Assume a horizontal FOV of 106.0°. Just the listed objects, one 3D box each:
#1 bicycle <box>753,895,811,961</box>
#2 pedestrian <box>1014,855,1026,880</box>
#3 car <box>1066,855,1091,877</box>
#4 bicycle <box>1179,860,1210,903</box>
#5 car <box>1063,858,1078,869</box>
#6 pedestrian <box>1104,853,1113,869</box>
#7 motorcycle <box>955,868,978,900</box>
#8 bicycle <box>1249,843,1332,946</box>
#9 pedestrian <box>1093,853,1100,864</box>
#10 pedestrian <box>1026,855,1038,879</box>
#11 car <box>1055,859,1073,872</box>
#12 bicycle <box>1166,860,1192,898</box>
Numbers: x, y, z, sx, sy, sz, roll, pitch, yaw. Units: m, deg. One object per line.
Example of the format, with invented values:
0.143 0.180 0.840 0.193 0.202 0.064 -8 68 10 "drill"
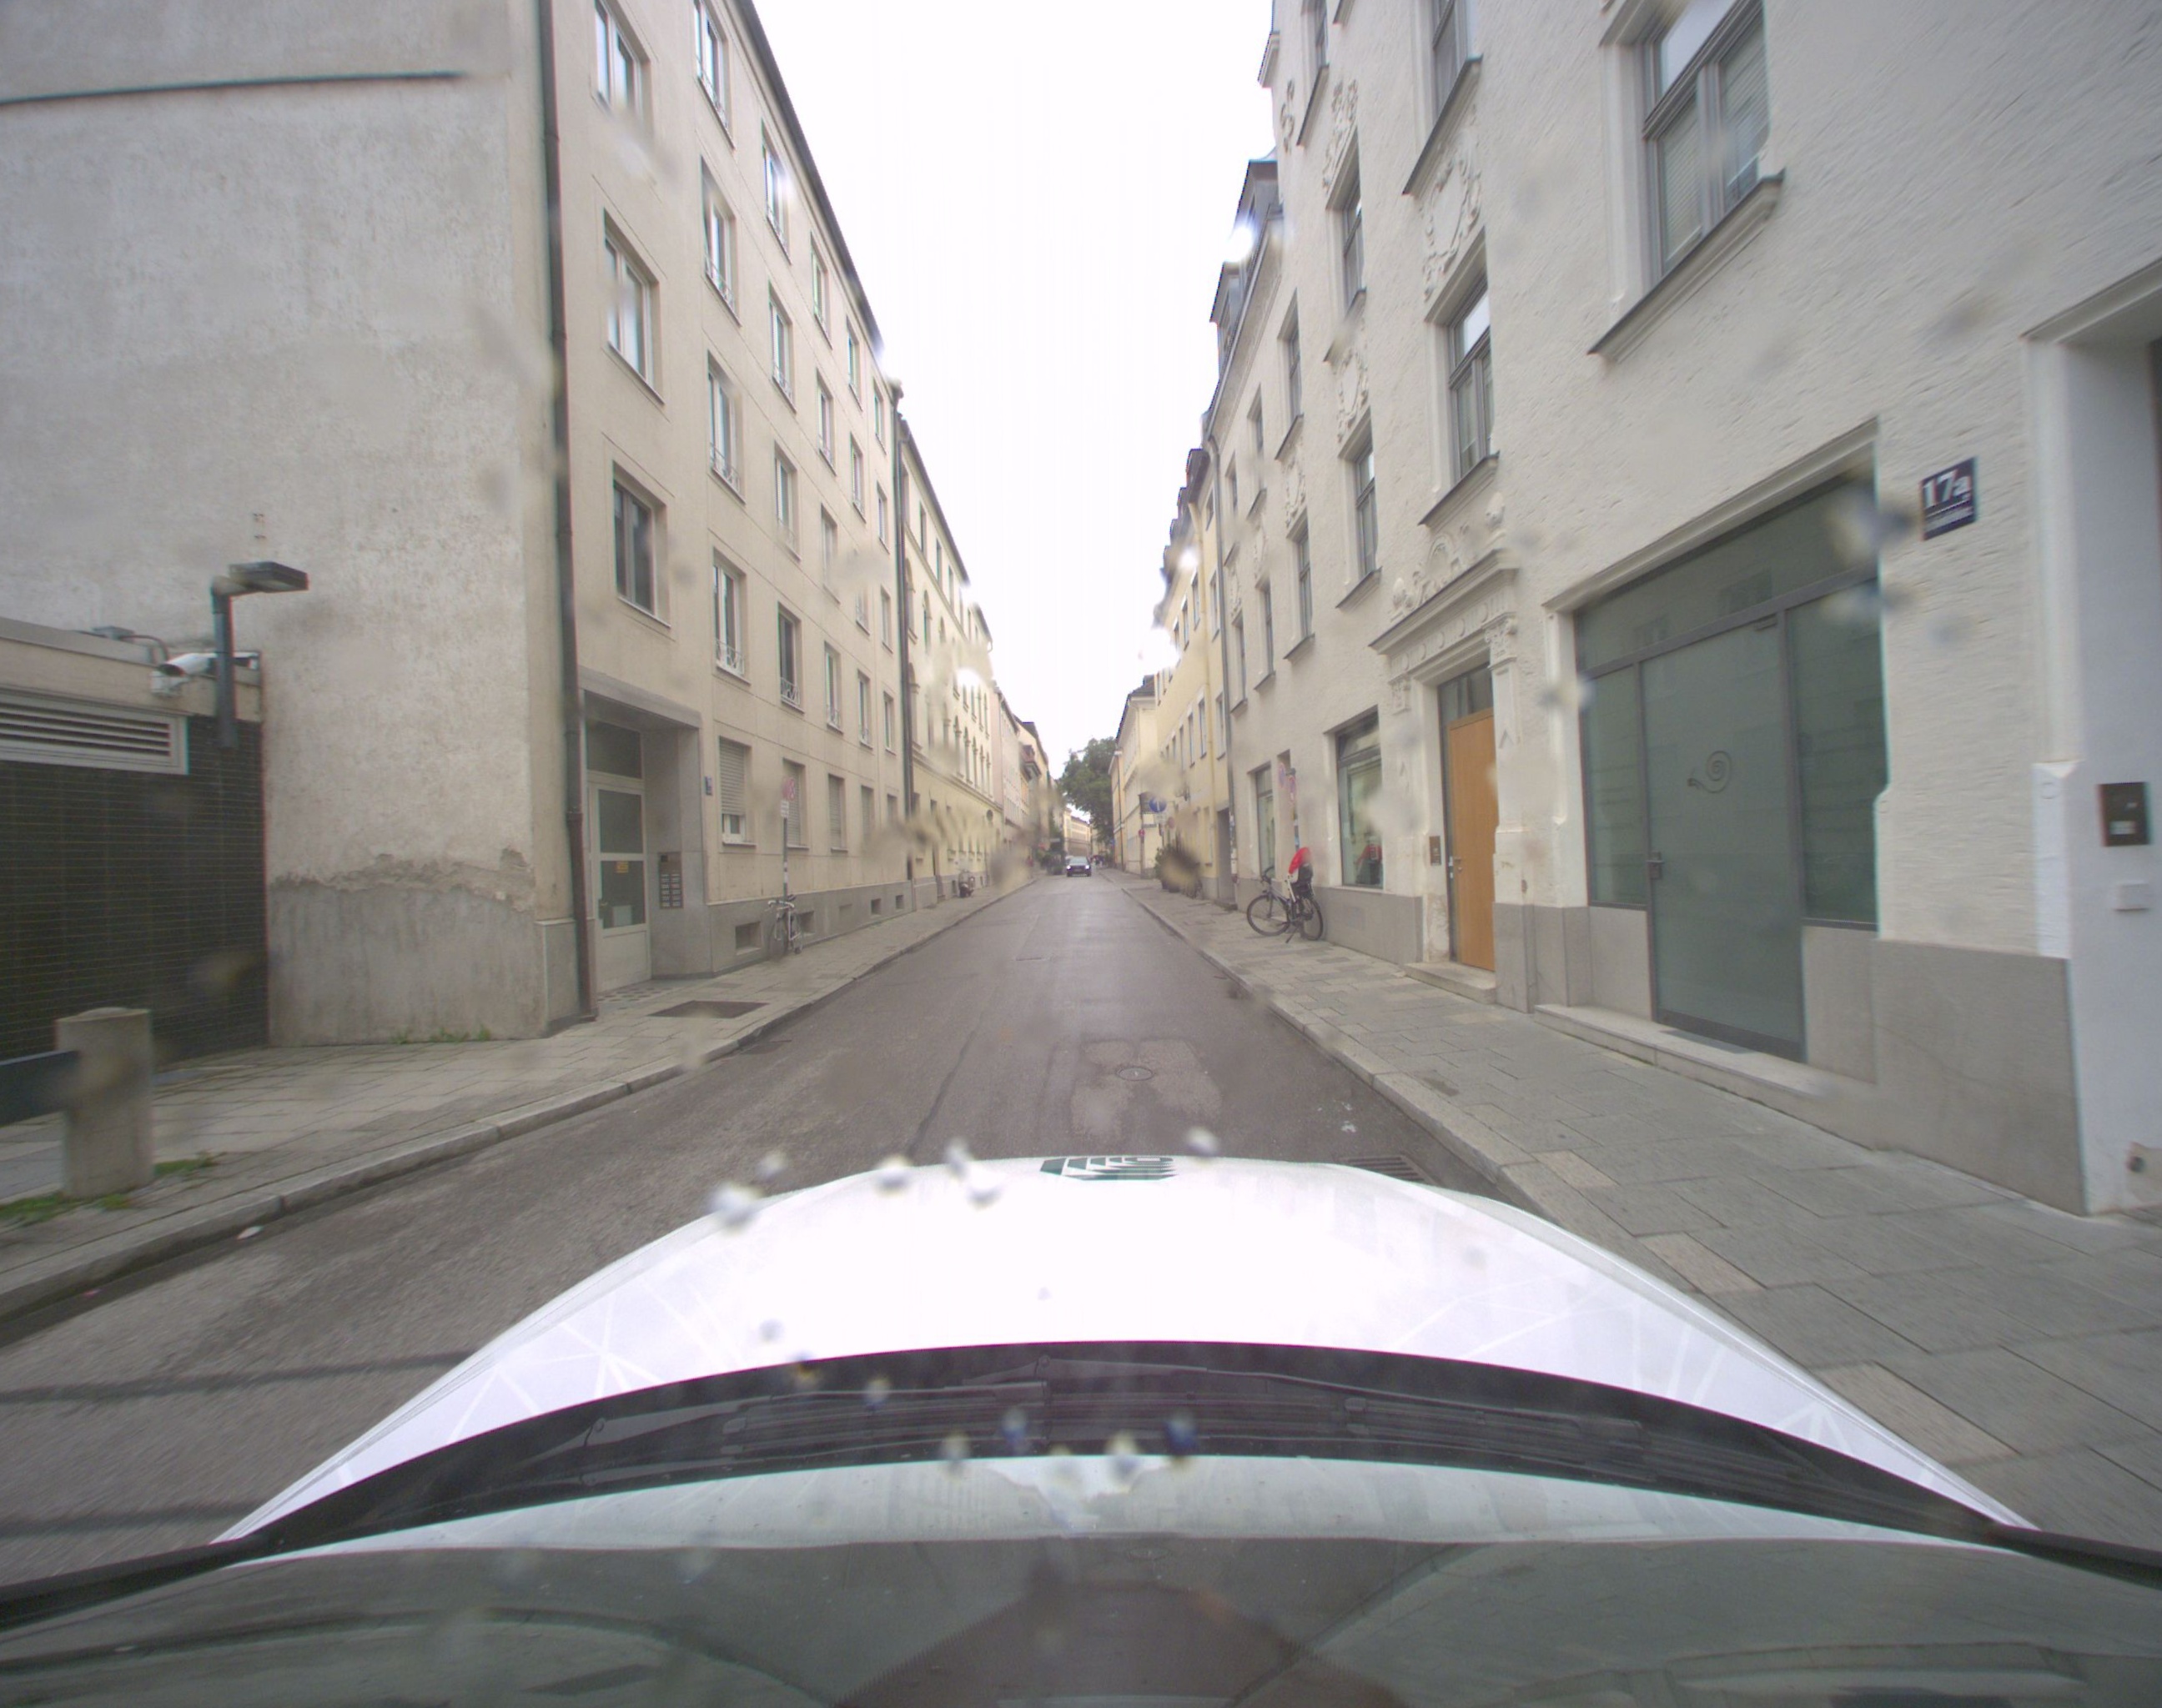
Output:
-4.890 1.190 13.393 0.318 0.944 1.574 0 0 2 "bicycle"
-4.468 0.996 59.844 0.807 1.755 0.989 -2 1 -2 "pedestrian"
-0.177 0.924 63.241 1.806 1.594 4.000 -2 0 0 "car"
3.266 0.762 23.620 0.563 1.137 1.988 -5 0 1 "bicycle"
-1.485 1.294 115.007 1.772 1.466 3.544 -1 0 3 "car"
3.174 0.783 94.145 0.877 1.802 1.046 -1 0 1 "pedestrian"
-4.444 1.150 31.623 0.600 1.174 1.708 -2 0 1 "motorcycle"
3.173 0.563 12.536 0.710 1.396 2.123 -5 0 3 "bicycle"
2.520 0.774 133.052 1.012 1.802 1.349 -1 0 1 "pedestrian"
-3.591 0.941 59.206 0.764 1.708 0.784 -3 0 -2 "pedestrian"
-1.948 1.328 94.607 1.772 1.466 3.665 -1 0 3 "car"
3.105 0.773 25.838 0.563 1.137 1.684 -5 0 1 "bicycle"
